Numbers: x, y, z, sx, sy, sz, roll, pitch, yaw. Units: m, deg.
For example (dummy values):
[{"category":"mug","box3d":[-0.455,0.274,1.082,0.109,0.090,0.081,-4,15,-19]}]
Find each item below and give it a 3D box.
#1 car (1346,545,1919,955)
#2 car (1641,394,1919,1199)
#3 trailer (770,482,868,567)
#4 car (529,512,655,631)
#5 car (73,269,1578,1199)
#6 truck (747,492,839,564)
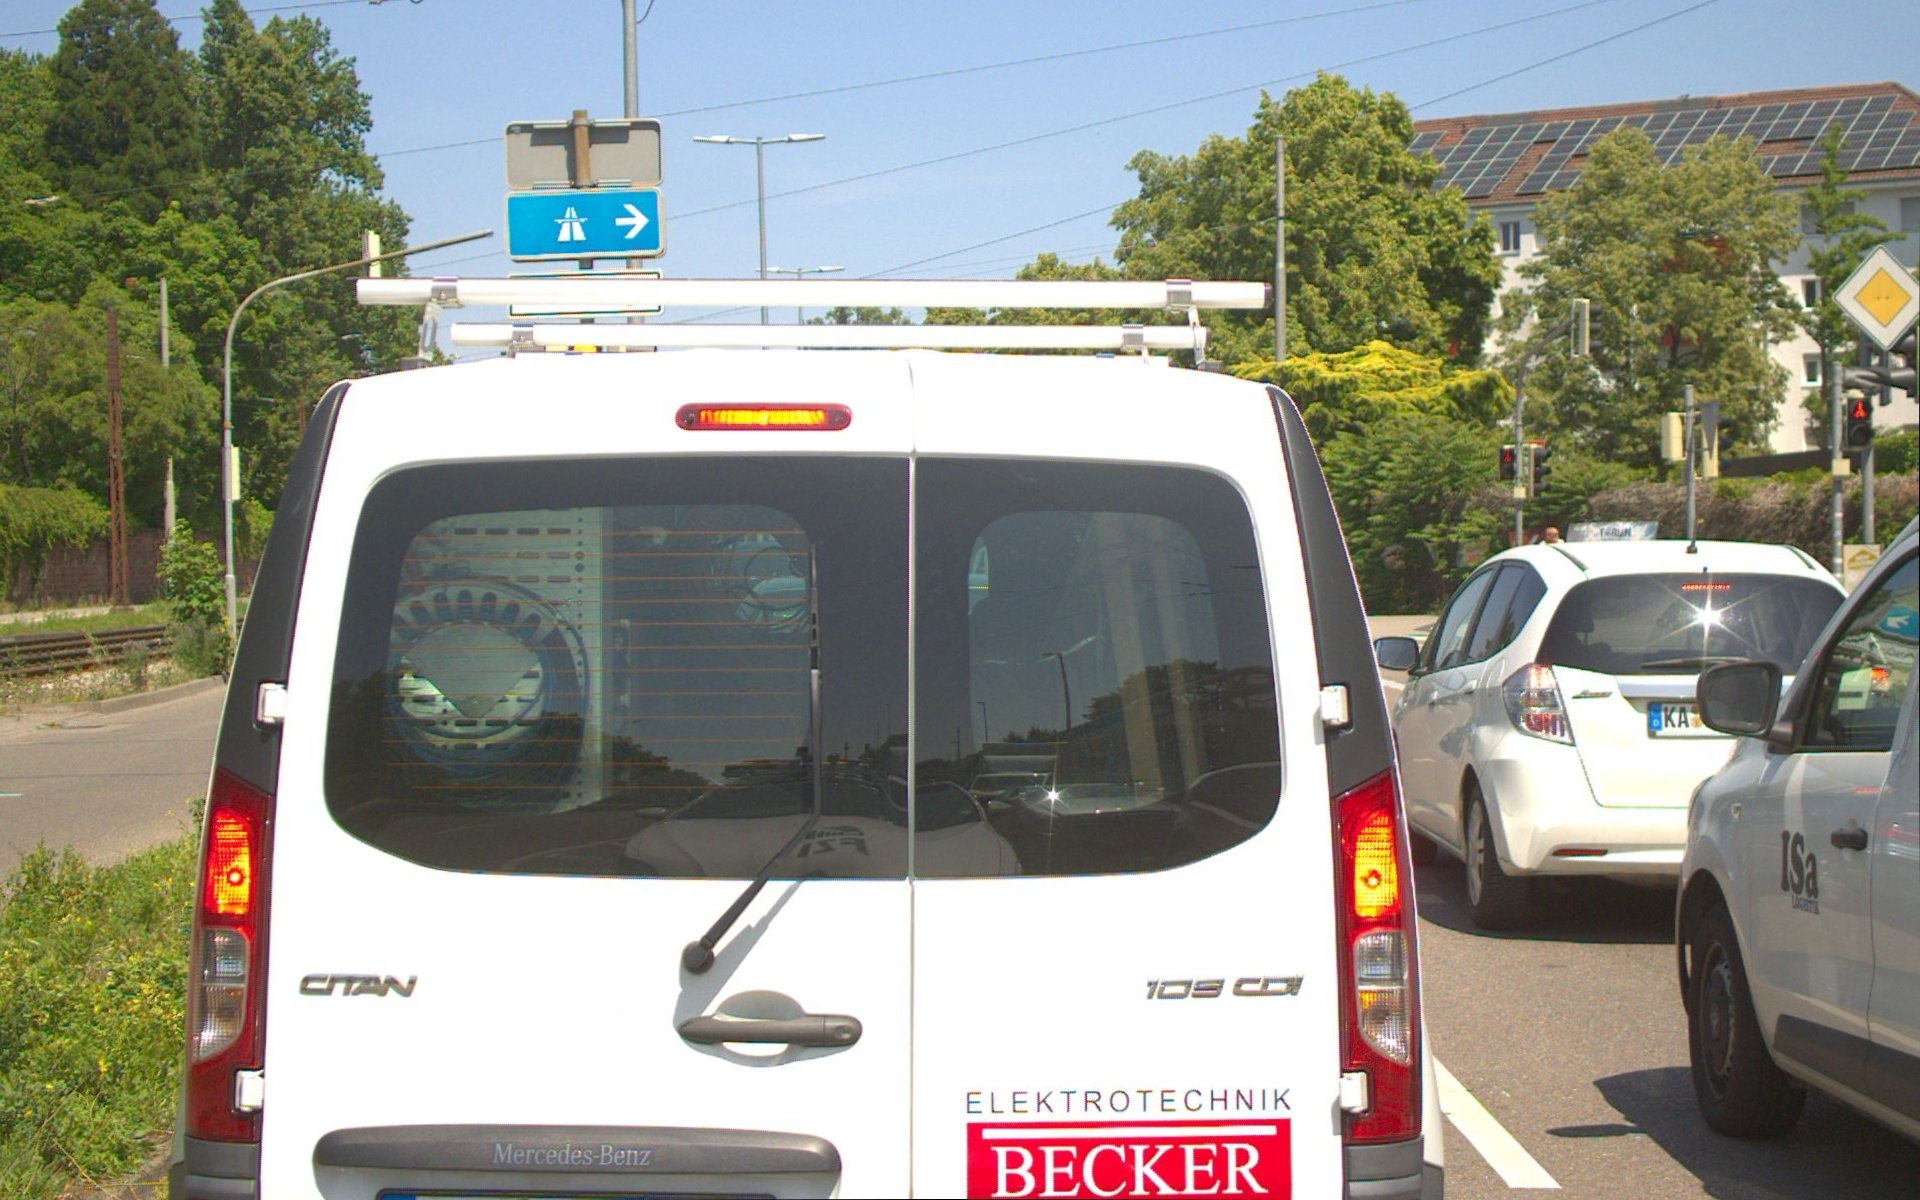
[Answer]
[{"category":"car","box3d":[2.775,0.522,14.627,1.756,1.481,4.000,1,1,-1]},{"category":"car","box3d":[2.753,0.499,7.213,1.710,1.824,4.014,0,1,-2]},{"category":"trailer","box3d":[-6.997,-3.709,169.454,3.527,4.037,8.980,-1,1,-11]},{"category":"car","box3d":[-6.553,-0.524,60.923,1.993,2.007,4.001,-1,1,-9]},{"category":"car","box3d":[-0.213,0.481,6.219,1.866,1.829,3.849,1,1,-1]},{"category":"truck","box3d":[-8.701,-3.703,178.274,3.575,3.620,8.811,-1,1,-10]}]
